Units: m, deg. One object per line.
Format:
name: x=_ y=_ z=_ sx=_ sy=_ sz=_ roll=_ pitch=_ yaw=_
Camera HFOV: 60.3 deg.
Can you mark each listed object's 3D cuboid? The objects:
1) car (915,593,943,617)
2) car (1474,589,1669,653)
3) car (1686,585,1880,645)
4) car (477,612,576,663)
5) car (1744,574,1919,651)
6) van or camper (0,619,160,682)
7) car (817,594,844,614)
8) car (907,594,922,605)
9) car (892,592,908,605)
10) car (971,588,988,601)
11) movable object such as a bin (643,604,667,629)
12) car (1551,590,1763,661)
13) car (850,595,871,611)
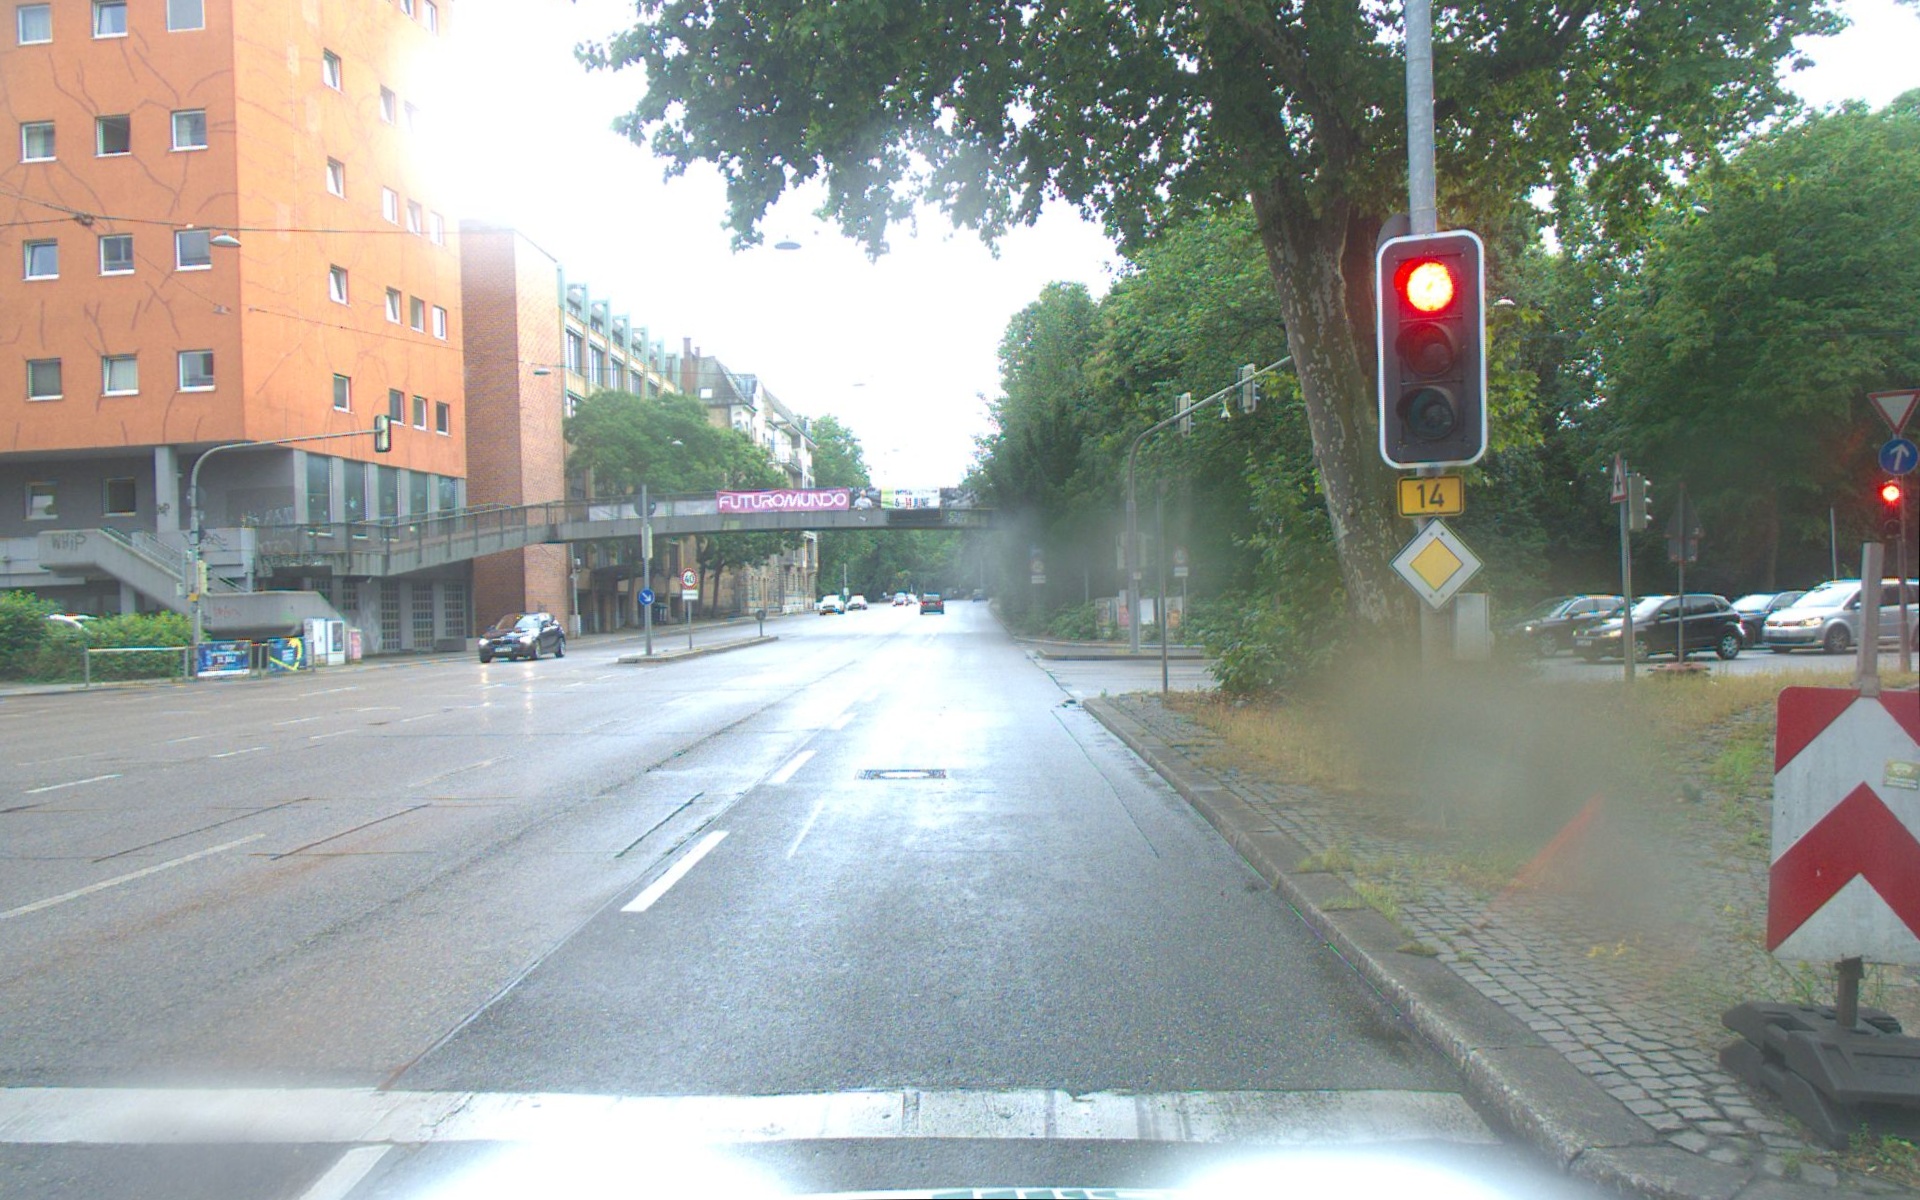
car: x=-2.325 y=0.390 z=122.028 sx=1.964 sy=1.672 sz=4.374 roll=-1 pitch=0 yaw=-2
car: x=14.862 y=0.517 z=40.264 sx=4.131 sy=1.466 sz=1.941 roll=1 pitch=0 yaw=-17
car: x=20.844 y=0.378 z=41.929 sx=4.361 sy=1.427 sz=1.821 roll=1 pitch=0 yaw=-17
car: x=-13.244 y=1.144 z=50.756 sx=1.650 sy=1.444 sz=4.216 roll=-2 pitch=-1 yaw=3
car: x=20.638 y=0.303 z=38.515 sx=4.129 sy=1.709 sz=1.898 roll=1 pitch=0 yaw=-17
van or camper: x=-25.470 y=1.444 z=47.620 sx=3.902 sy=1.656 sz=1.915 roll=-1 pitch=0 yaw=5
car: x=-11.116 y=0.375 z=142.332 sx=1.850 sy=1.638 sz=4.457 roll=-1 pitch=0 yaw=2
car: x=-6.115 y=-0.058 z=220.984 sx=1.793 sy=1.418 sz=4.405 roll=-3 pitch=0 yaw=1
car: x=-6.866 y=-0.168 z=189.614 sx=1.648 sy=1.461 sz=3.862 roll=-2 pitch=0 yaw=0
car: x=2.303 y=-0.654 z=194.348 sx=1.805 sy=1.478 sz=3.776 roll=1 pitch=0 yaw=-1
movable object such as a bin: x=-19.684 y=1.047 z=106.806 sx=1.256 sy=1.545 sz=1.273 roll=-1 pitch=0 yaw=1
car: x=15.370 y=0.559 z=36.513 sx=4.119 sy=1.486 sz=1.785 roll=1 pitch=0 yaw=-17
car: x=-10.158 y=0.309 z=168.369 sx=1.673 sy=1.490 sz=4.042 roll=-2 pitch=0 yaw=2
